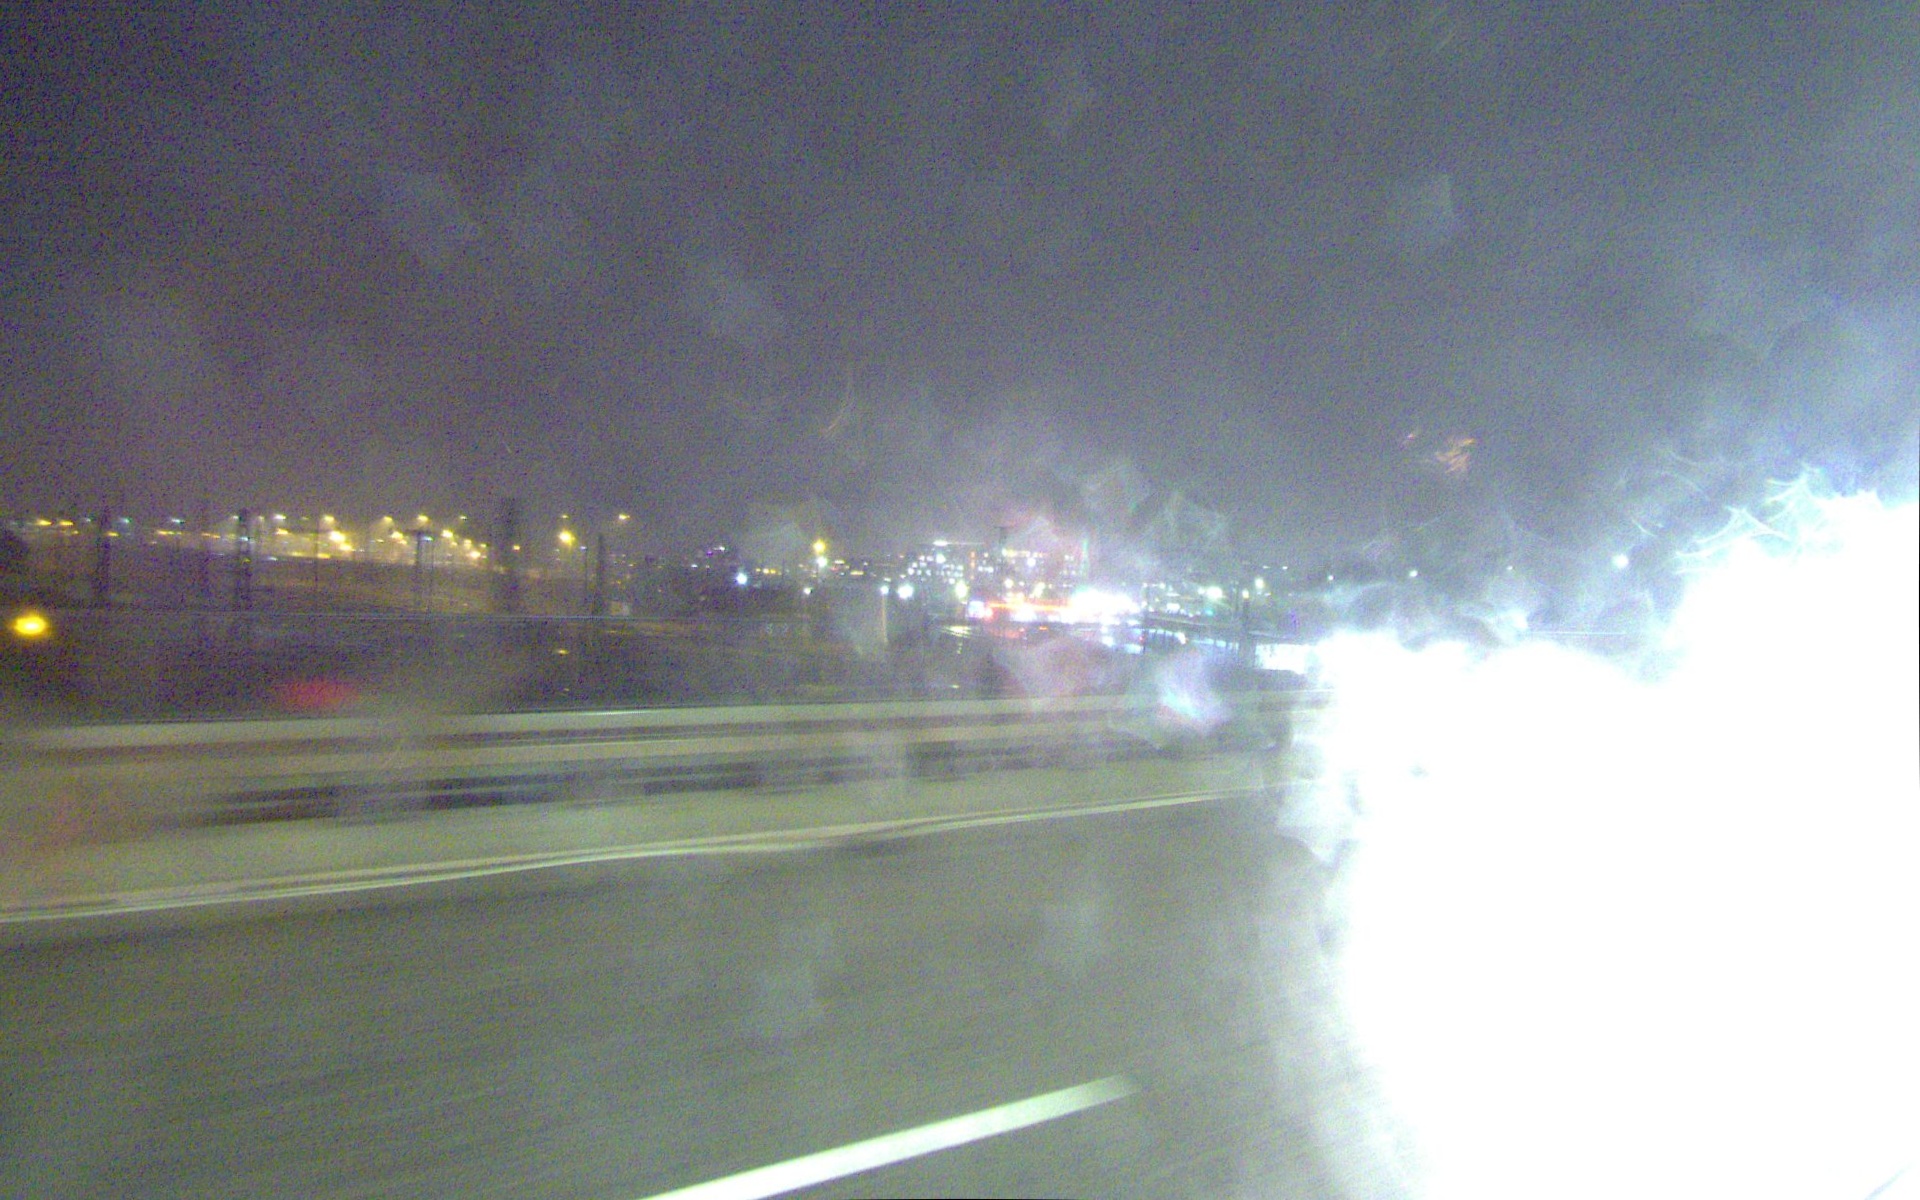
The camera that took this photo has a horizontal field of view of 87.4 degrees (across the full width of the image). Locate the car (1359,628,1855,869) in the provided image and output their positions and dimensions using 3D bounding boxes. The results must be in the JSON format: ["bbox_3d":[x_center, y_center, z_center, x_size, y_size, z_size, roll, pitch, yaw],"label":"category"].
[{"bbox_3d":[5.187,0.952,7.938,4.003,1.423,1.805,1,-1,-32],"label":"car"}]

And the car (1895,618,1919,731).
[{"bbox_3d":[17.955,1.261,17.523,3.963,1.885,1.741,1,-2,-37],"label":"car"}]
